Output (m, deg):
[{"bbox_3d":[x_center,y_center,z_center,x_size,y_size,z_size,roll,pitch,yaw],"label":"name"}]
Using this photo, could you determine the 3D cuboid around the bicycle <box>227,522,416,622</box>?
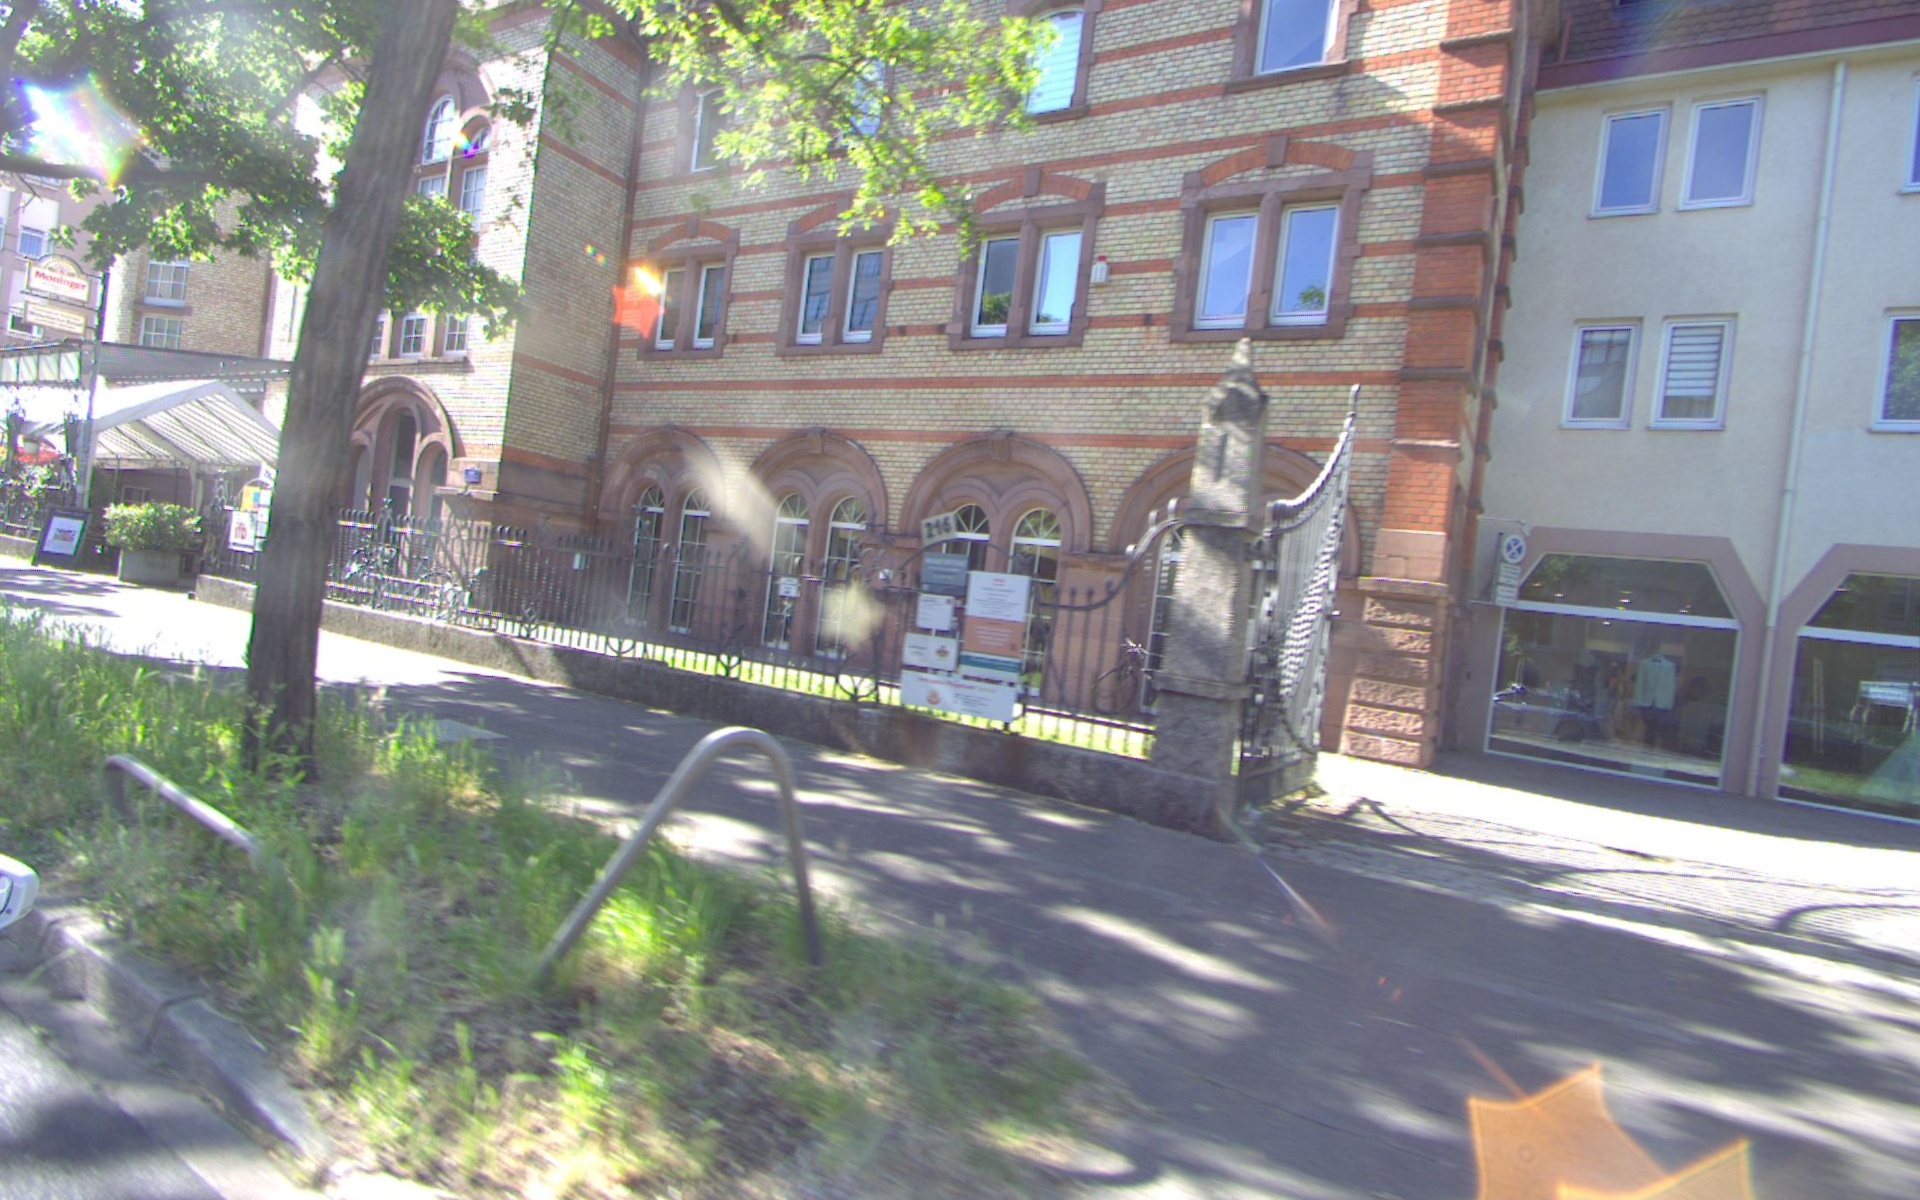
[{"bbox_3d":[-9.140,-0.361,14.522,0.675,1.192,2.202,6,-1,25],"label":"bicycle"}]

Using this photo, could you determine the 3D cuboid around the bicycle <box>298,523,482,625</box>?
[{"bbox_3d":[-8.047,-0.324,14.339,0.675,1.192,2.202,6,-1,25],"label":"bicycle"}]
